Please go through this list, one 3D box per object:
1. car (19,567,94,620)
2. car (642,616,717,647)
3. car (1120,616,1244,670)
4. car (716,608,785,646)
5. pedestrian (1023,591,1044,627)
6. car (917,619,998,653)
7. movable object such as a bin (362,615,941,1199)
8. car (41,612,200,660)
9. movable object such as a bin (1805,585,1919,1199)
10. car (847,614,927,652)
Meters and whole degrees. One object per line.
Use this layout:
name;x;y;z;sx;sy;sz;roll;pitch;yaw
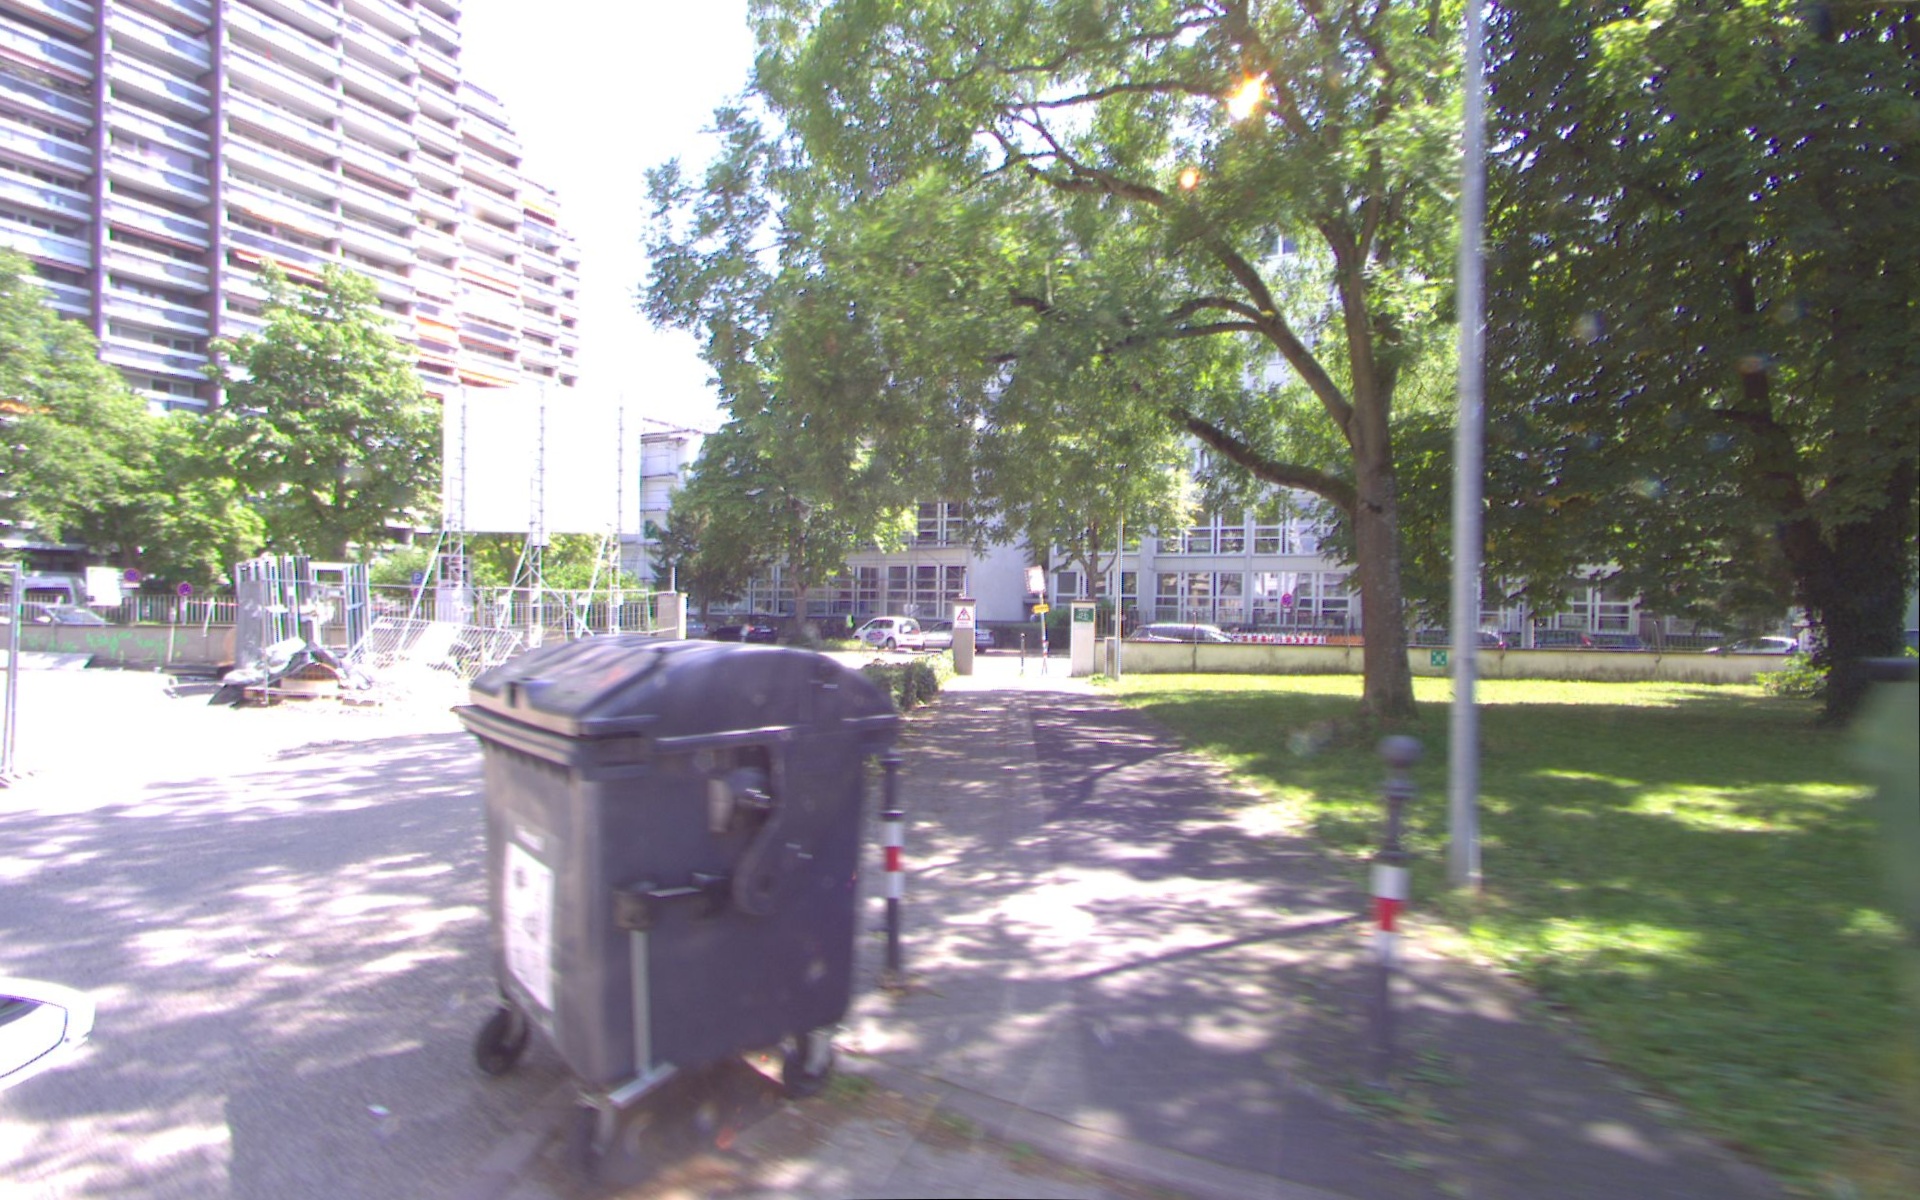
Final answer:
car;-41.309;-0.264;45.875;2.166;2.287;4.831;1;-1;-38
car;-12.688;1.399;45.151;1.898;1.327;3.899;1;-1;-38
car;6.358;1.222;28.881;3.267;1.498;1.433;1;0;1
car;-9.558;1.214;45.454;1.989;1.651;3.910;1;-1;-29
pedestrian;4.229;0.524;57.345;0.863;2.040;0.992;1;0;29
car;-0.158;1.598;44.992;1.651;1.434;3.679;1;-1;-41
movable object such as a bin;-0.921;0.794;3.088;1.357;1.477;1.074;0;0;31
car;-24.937;1.030;29.915;1.583;1.337;3.726;1;-1;1
movable object such as a bin;1.909;0.722;1.079;1.357;1.477;1.074;0;0;31
car;-3.327;1.478;45.377;1.653;1.610;3.655;1;-1;-44
